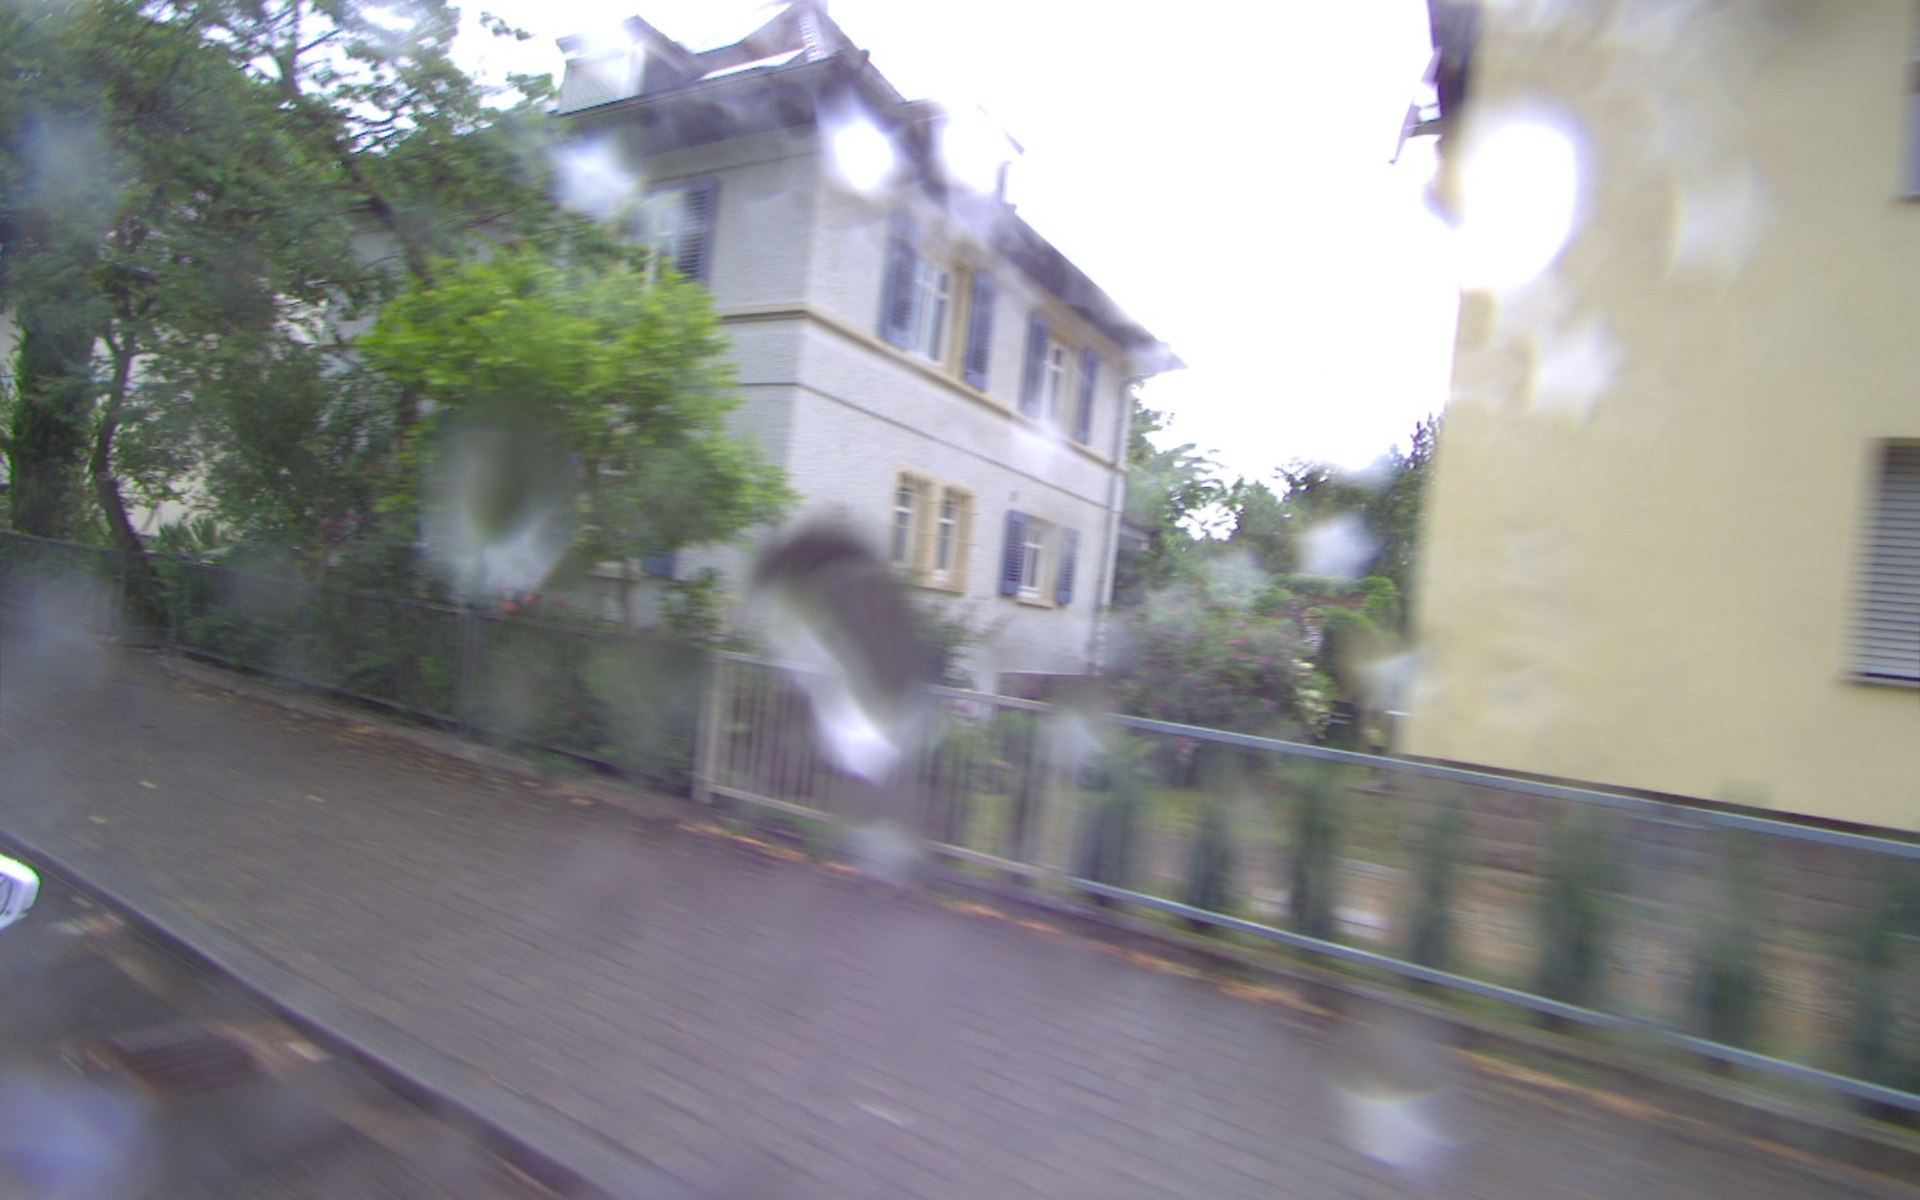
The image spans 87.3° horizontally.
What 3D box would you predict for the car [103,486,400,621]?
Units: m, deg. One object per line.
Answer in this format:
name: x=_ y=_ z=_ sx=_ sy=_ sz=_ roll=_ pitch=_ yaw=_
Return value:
car: x=-13.067 y=-0.802 z=18.787 sx=1.792 sy=1.595 sz=3.999 roll=7 pitch=-6 yaw=35
